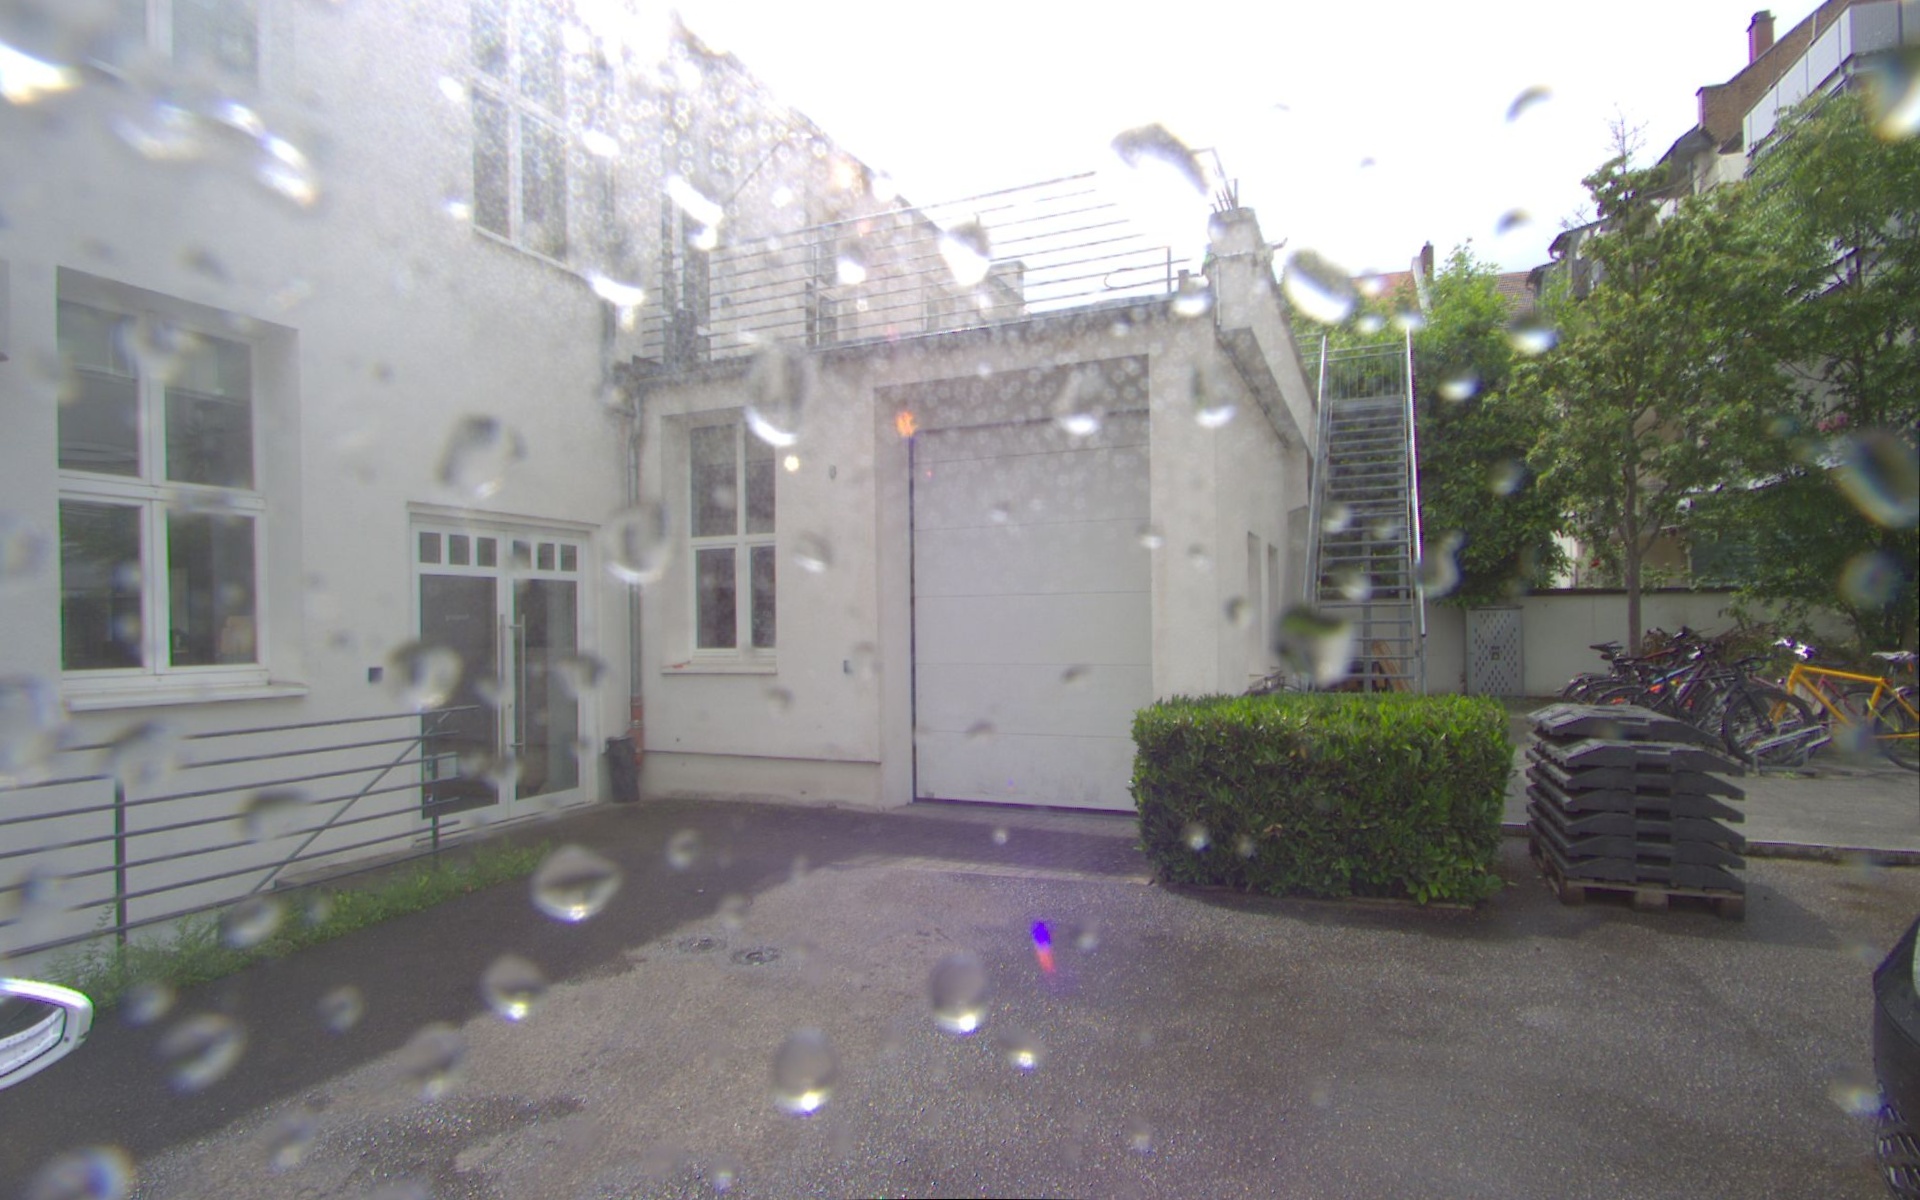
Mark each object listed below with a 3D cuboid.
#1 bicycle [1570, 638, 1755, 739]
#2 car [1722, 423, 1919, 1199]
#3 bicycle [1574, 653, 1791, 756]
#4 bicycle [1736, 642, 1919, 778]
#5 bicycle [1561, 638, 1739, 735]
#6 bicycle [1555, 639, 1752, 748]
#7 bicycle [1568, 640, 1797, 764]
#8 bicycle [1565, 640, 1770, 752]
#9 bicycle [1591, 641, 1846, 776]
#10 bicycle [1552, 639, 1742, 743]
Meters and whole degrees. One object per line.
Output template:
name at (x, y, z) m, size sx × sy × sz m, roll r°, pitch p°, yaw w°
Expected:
bicycle at (8.136, 1.011, 11.647) m, size 1.724 × 1.118 × 0.354 m, roll -1°, pitch 0°, yaw 18°
car at (4.006, 0.527, 1.030) m, size 4.662 × 1.888 × 1.968 m, roll -2°, pitch -2°, yaw 17°
bicycle at (7.276, 1.039, 10.147) m, size 1.764 × 0.980 × 0.329 m, roll -1°, pitch 0°, yaw 18°
bicycle at (7.818, 0.925, 8.603) m, size 1.767 × 1.118 × 0.366 m, roll -1°, pitch 0°, yaw 26°
bicycle at (8.239, 1.022, 12.007) m, size 1.724 × 1.118 × 0.341 m, roll -1°, pitch 0°, yaw 18°
bicycle at (7.455, 0.991, 10.825) m, size 1.724 × 1.118 × 0.342 m, roll -1°, pitch 0°, yaw 18°
bicycle at (6.973, 0.960, 9.748) m, size 1.767 × 1.118 × 0.353 m, roll -1°, pitch 0°, yaw 26°
bicycle at (7.364, 0.980, 10.478) m, size 1.724 × 1.118 × 0.332 m, roll -1°, pitch 0°, yaw 18°
bicycle at (6.731, 0.937, 8.976) m, size 1.767 × 1.118 × 0.404 m, roll -1°, pitch 0°, yaw 26°
bicycle at (7.683, 1.002, 11.252) m, size 1.724 × 1.118 × 0.345 m, roll -1°, pitch 0°, yaw 18°
